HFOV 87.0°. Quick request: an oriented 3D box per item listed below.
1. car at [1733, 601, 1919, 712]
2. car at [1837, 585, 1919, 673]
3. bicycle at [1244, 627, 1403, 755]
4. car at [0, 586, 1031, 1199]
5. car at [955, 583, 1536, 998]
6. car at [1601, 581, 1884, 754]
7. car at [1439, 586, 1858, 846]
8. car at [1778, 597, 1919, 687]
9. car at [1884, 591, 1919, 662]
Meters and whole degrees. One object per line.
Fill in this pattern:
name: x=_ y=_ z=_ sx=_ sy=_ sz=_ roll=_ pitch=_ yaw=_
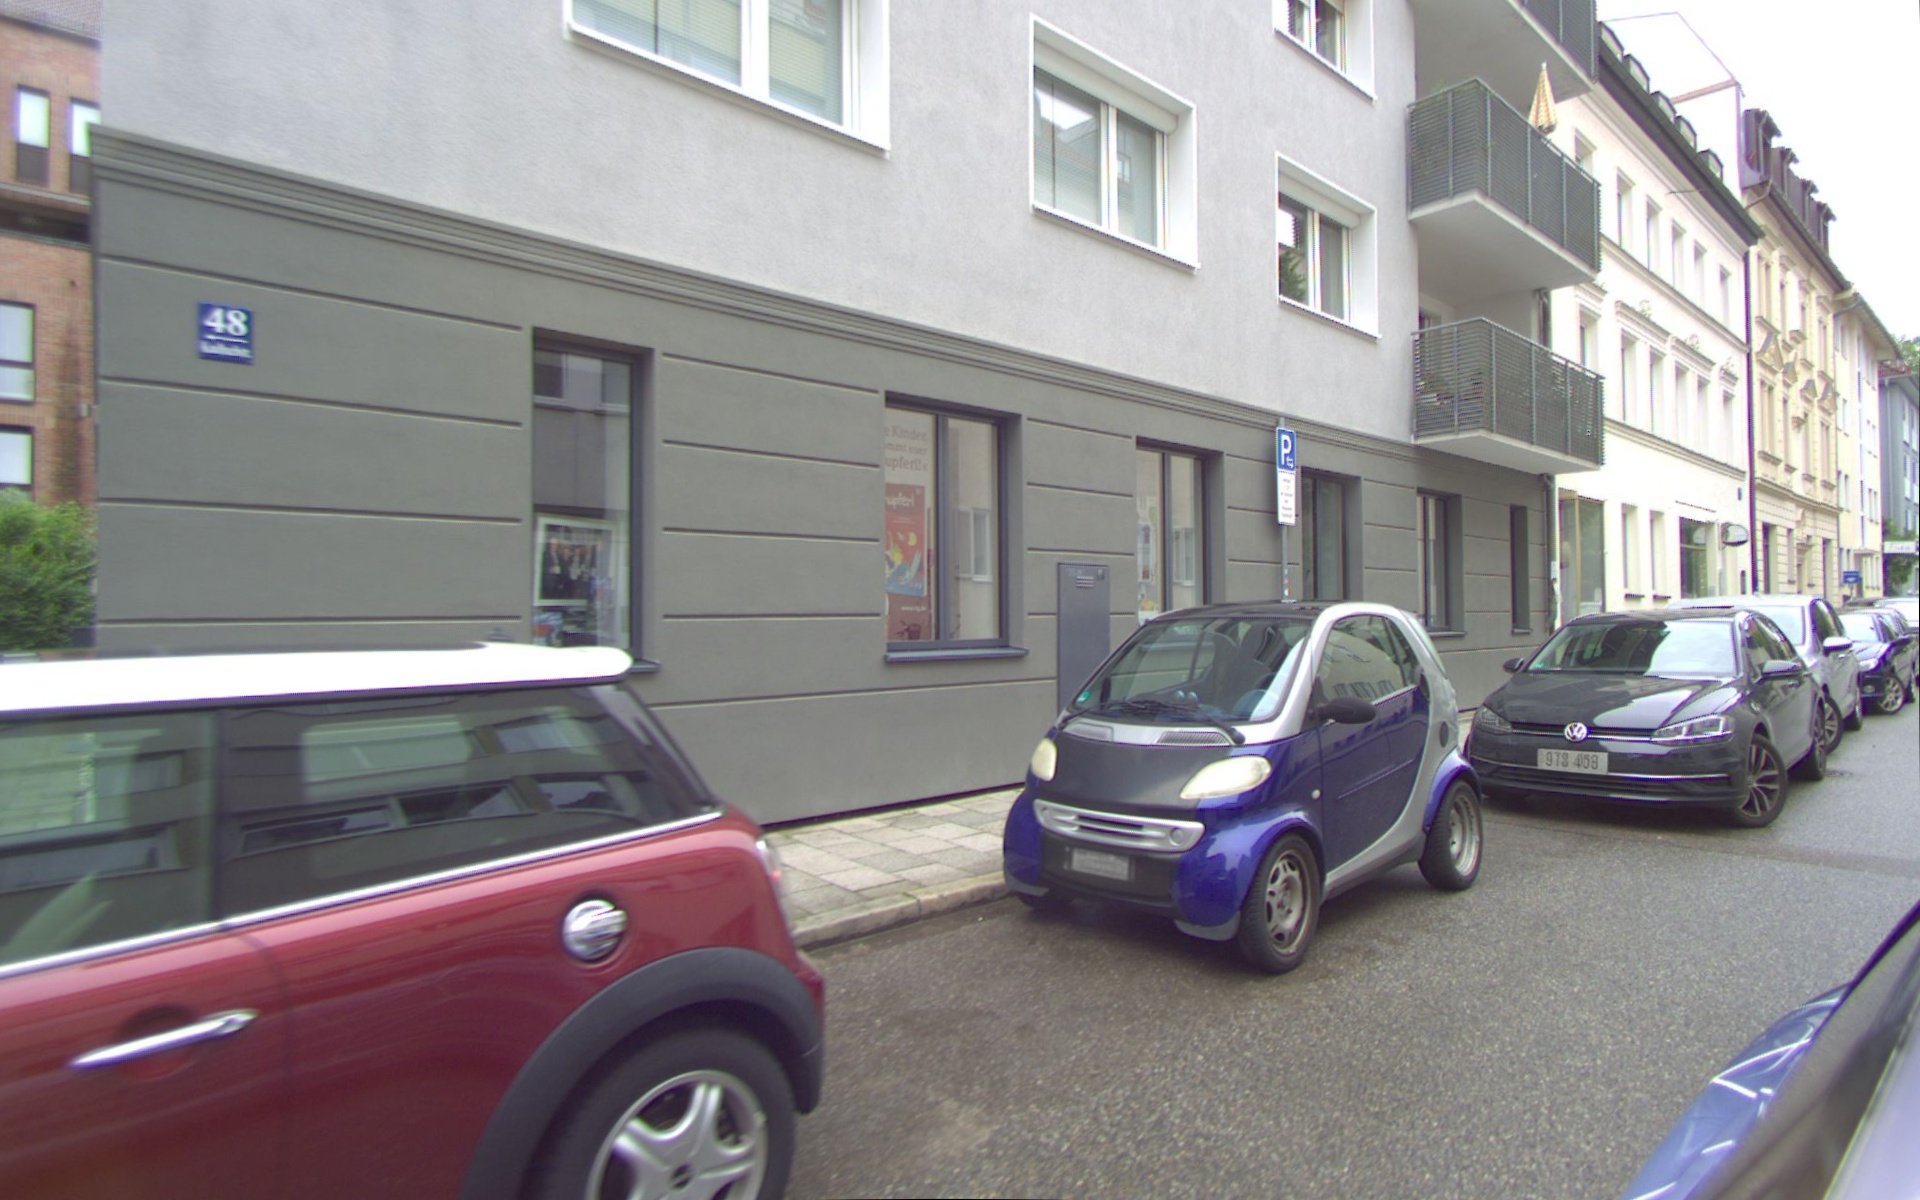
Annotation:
car: x=12.889 y=0.714 z=14.758 sx=3.876 sy=1.380 sz=1.811 roll=0 pitch=0 yaw=-41
car: x=19.762 y=0.559 z=21.062 sx=4.434 sy=1.682 sz=1.678 roll=0 pitch=-1 yaw=-41
bicycle: x=3.630 y=0.844 z=10.010 sx=1.961 sy=1.105 sz=0.570 roll=0 pitch=-1 yaw=-40
car: x=-1.900 y=0.736 z=2.051 sx=4.079 sy=1.480 sz=1.747 roll=0 pitch=-1 yaw=-42
car: x=1.653 y=0.714 z=5.375 sx=3.147 sy=1.531 sz=1.523 roll=0 pitch=-1 yaw=-42
car: x=8.973 y=0.603 z=11.465 sx=4.243 sy=1.590 sz=1.878 roll=0 pitch=1 yaw=-43
car: x=5.707 y=0.707 z=8.175 sx=4.219 sy=1.548 sz=1.842 roll=0 pitch=-1 yaw=-42
car: x=16.059 y=0.654 z=17.913 sx=4.274 sy=1.403 sz=1.802 roll=0 pitch=0 yaw=-42
car: x=24.065 y=0.605 z=24.727 sx=4.603 sy=1.627 sz=1.704 roll=0 pitch=-1 yaw=-41
